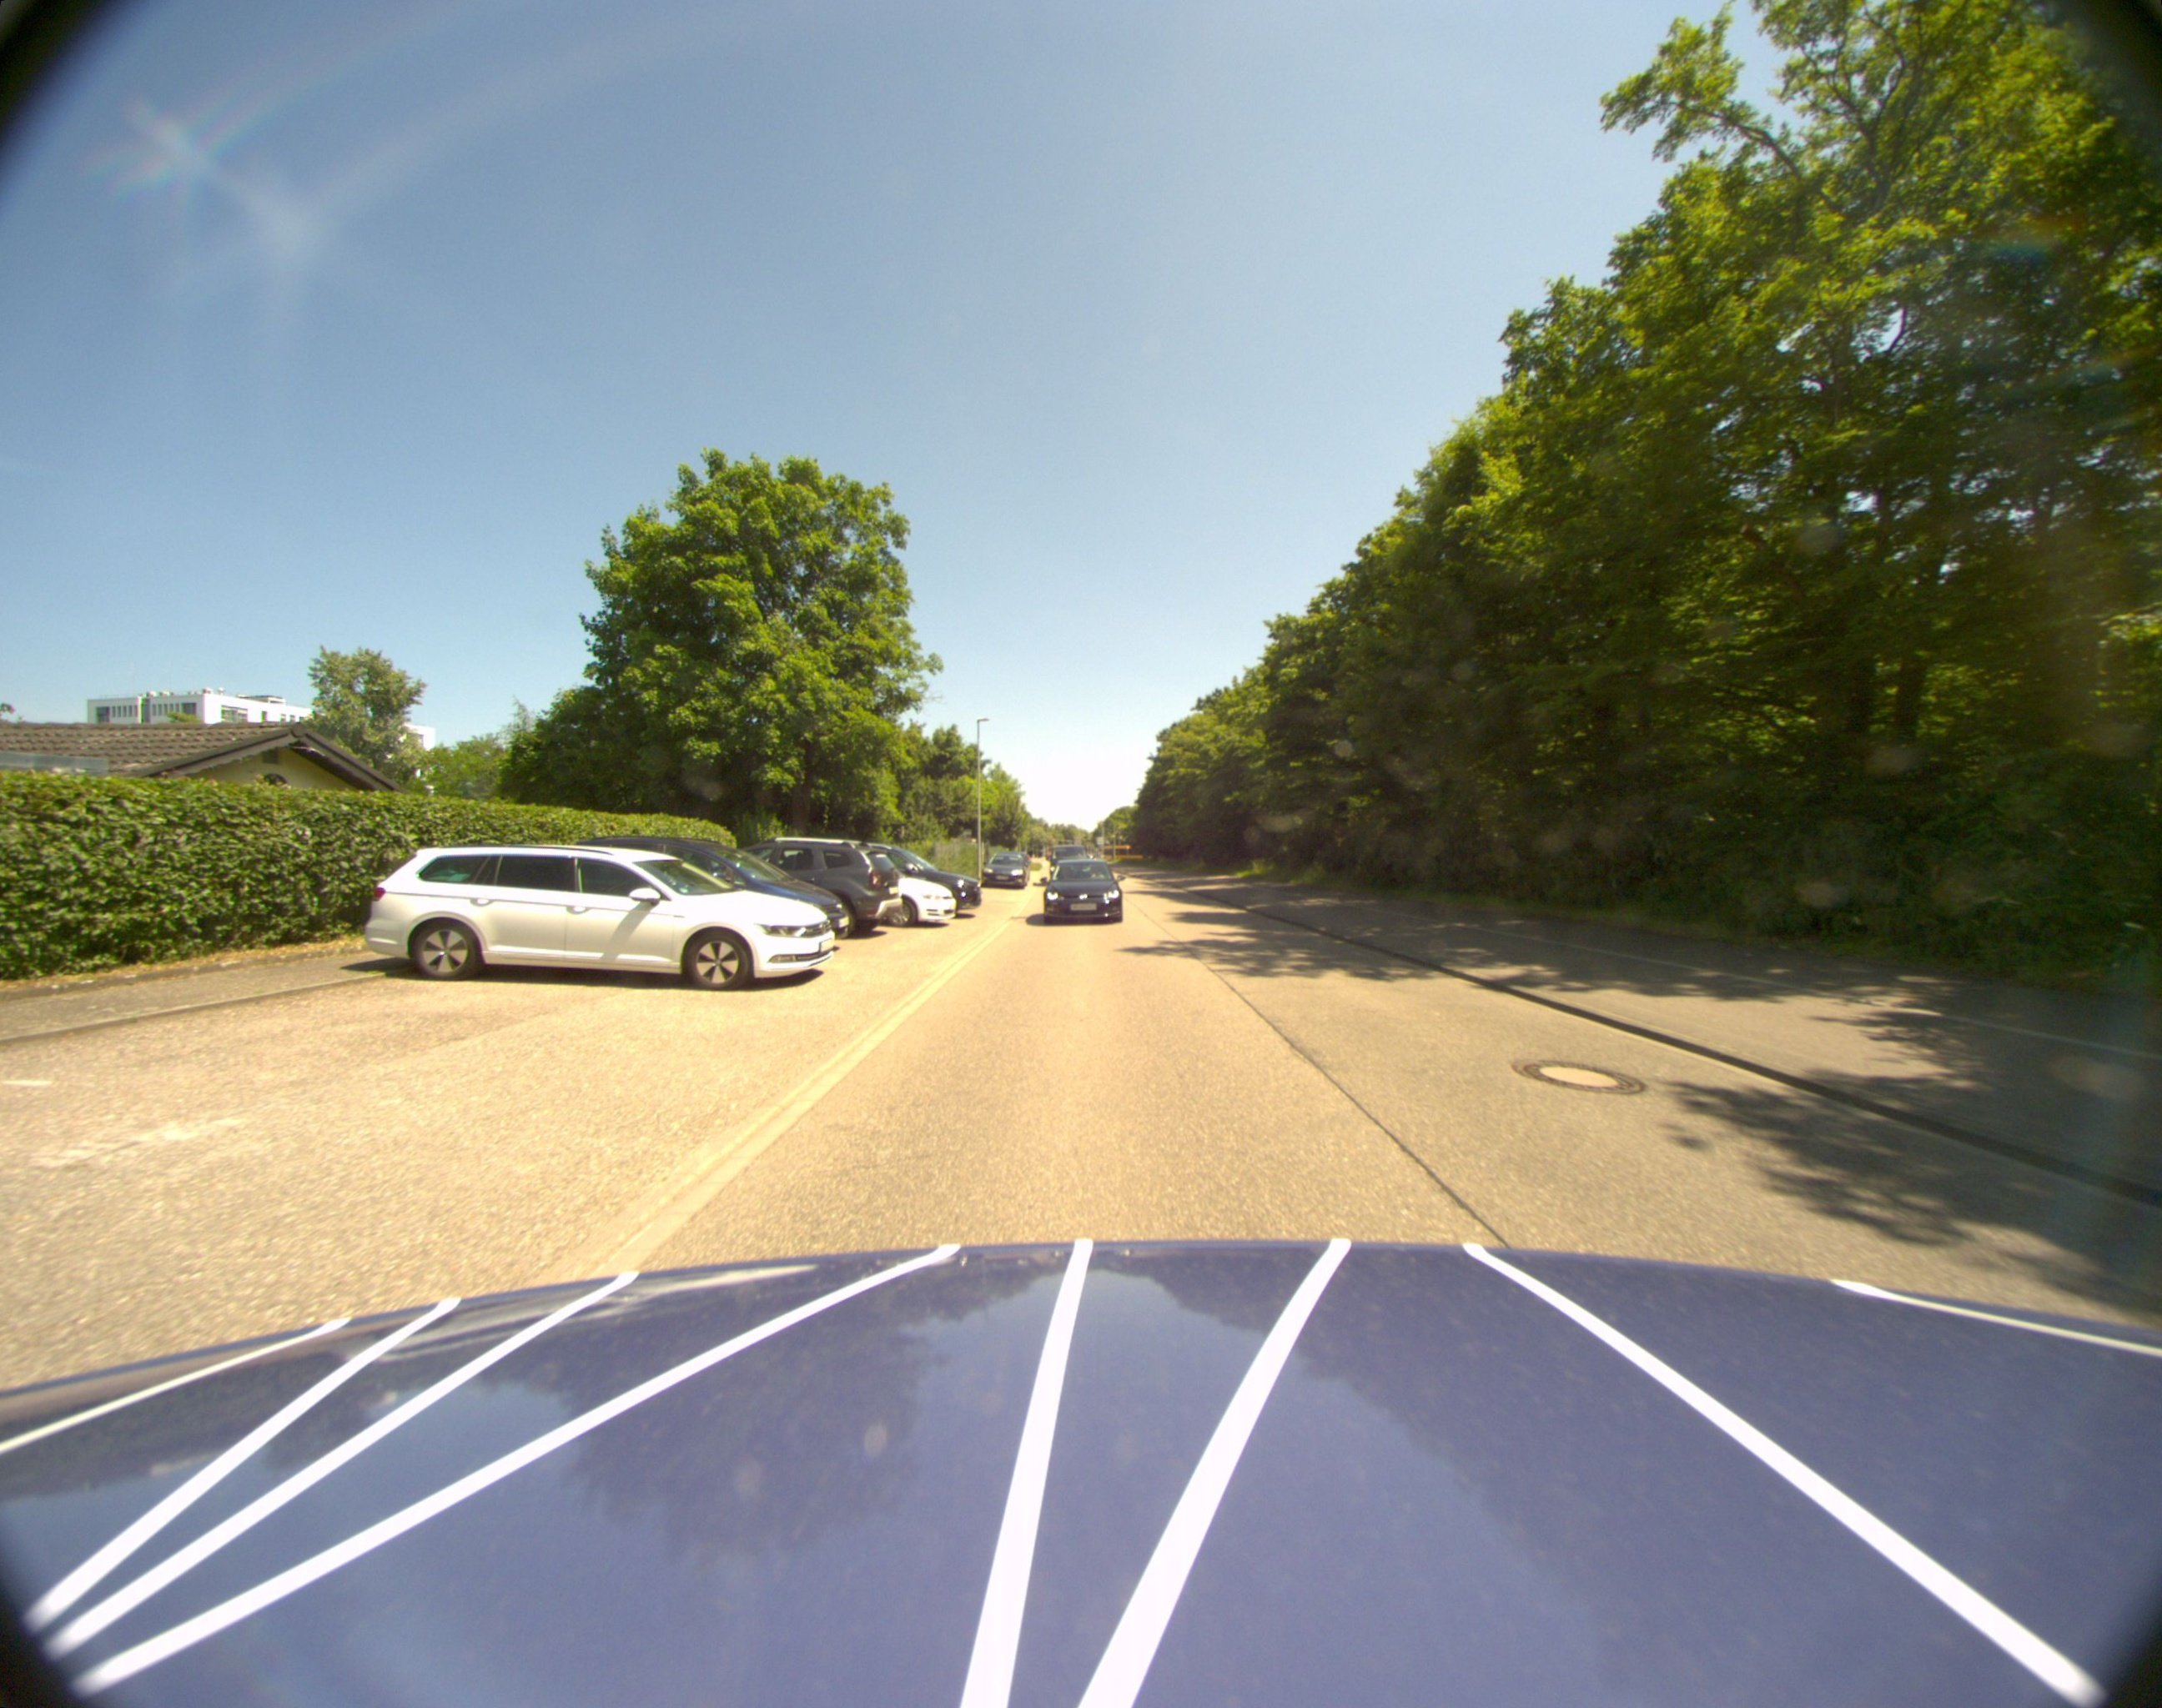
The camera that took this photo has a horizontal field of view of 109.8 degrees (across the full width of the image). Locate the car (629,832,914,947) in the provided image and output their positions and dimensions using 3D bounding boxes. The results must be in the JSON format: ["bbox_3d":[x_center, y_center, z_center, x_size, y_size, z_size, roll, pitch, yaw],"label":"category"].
[{"bbox_3d":[-5.374,0.586,13.583,4.267,1.688,1.853,3,0,2],"label":"car"}]

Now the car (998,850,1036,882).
[{"bbox_3d":[-3.359,0.602,40.454,1.794,1.594,4.129,1,0,-2],"label":"car"}]

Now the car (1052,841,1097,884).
[{"bbox_3d":[-0.376,0.386,37.203,2.002,1.965,4.449,-1,0,-2],"label":"car"}]

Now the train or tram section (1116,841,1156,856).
[{"bbox_3d":[12.431,-1.185,172.825,2.656,3.446,10.825,-1,1,-35],"label":"train or tram section"}]

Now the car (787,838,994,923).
[{"bbox_3d":[-4.554,0.619,18.639,4.481,1.694,1.913,4,0,0],"label":"car"}]

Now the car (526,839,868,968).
[{"bbox_3d":[-5.449,0.669,11.192,4.060,1.540,1.757,3,0,-2],"label":"car"}]

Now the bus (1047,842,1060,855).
[{"bbox_3d":[-6.720,-1.360,189.056,2.931,3.248,8.329,-1,0,0],"label":"bus"}]

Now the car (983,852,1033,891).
[{"bbox_3d":[-3.132,0.707,33.522,1.794,1.473,4.664,3,0,-1],"label":"car"}]

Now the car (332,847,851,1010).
[{"bbox_3d":[-5.242,0.766,8.709,4.570,1.431,1.961,3,0,-3],"label":"car"}]

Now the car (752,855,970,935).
[{"bbox_3d":[-4.506,0.812,15.991,4.007,1.444,1.832,2,0,1],"label":"car"}]

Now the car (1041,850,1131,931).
[{"bbox_3d":[0.070,0.769,18.503,1.887,1.668,4.661,-1,0,-1],"label":"car"}]
